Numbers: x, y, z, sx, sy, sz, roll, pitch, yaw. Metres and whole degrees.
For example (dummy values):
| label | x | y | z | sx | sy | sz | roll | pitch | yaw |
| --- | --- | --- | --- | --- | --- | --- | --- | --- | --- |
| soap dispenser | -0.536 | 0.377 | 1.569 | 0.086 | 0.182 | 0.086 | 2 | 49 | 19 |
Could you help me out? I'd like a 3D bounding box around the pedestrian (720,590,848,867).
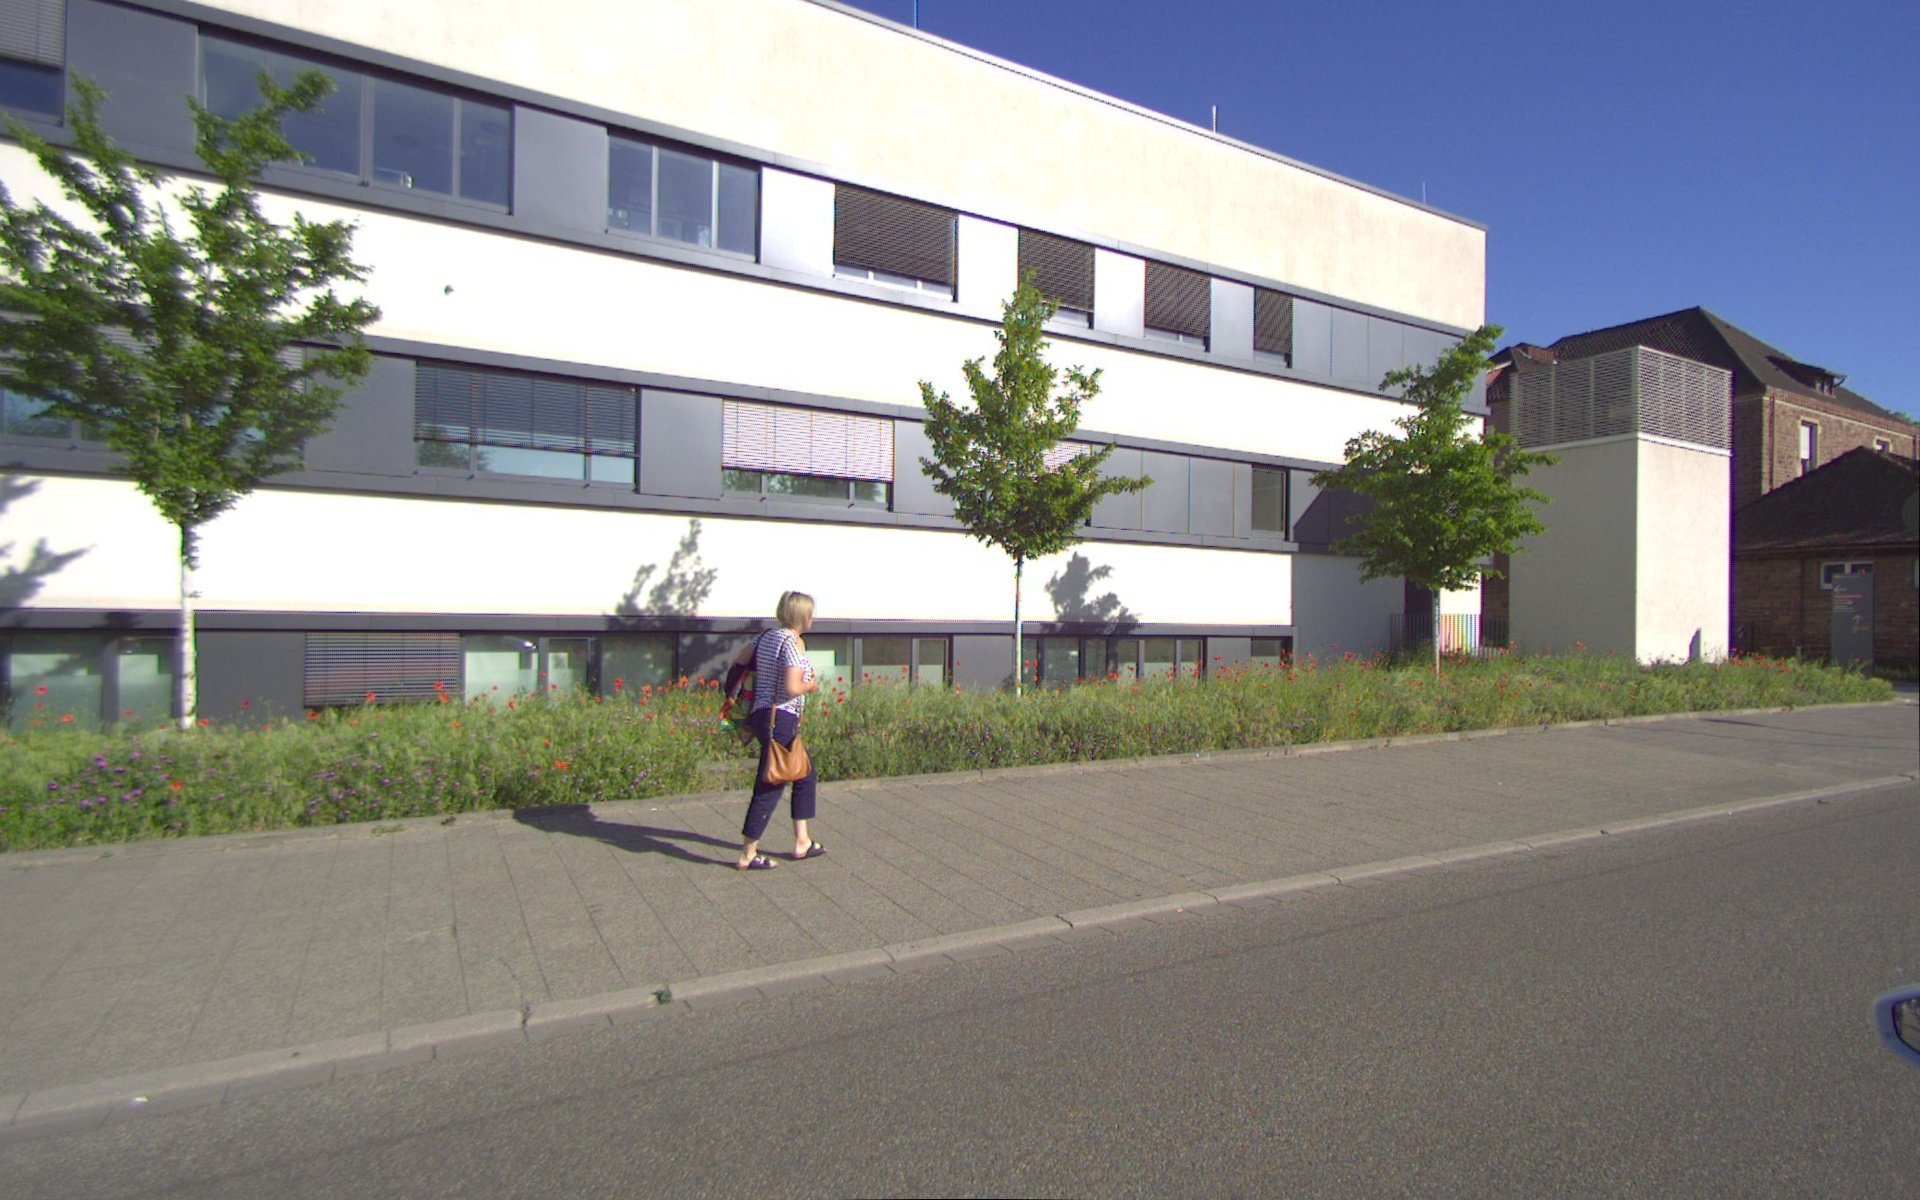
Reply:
| label | x | y | z | sx | sy | sz | roll | pitch | yaw |
| --- | --- | --- | --- | --- | --- | --- | --- | --- | --- |
| pedestrian | -1.053 | 0.722 | 5.987 | 0.600 | 1.544 | 0.536 | 1 | 0 | -28 |
